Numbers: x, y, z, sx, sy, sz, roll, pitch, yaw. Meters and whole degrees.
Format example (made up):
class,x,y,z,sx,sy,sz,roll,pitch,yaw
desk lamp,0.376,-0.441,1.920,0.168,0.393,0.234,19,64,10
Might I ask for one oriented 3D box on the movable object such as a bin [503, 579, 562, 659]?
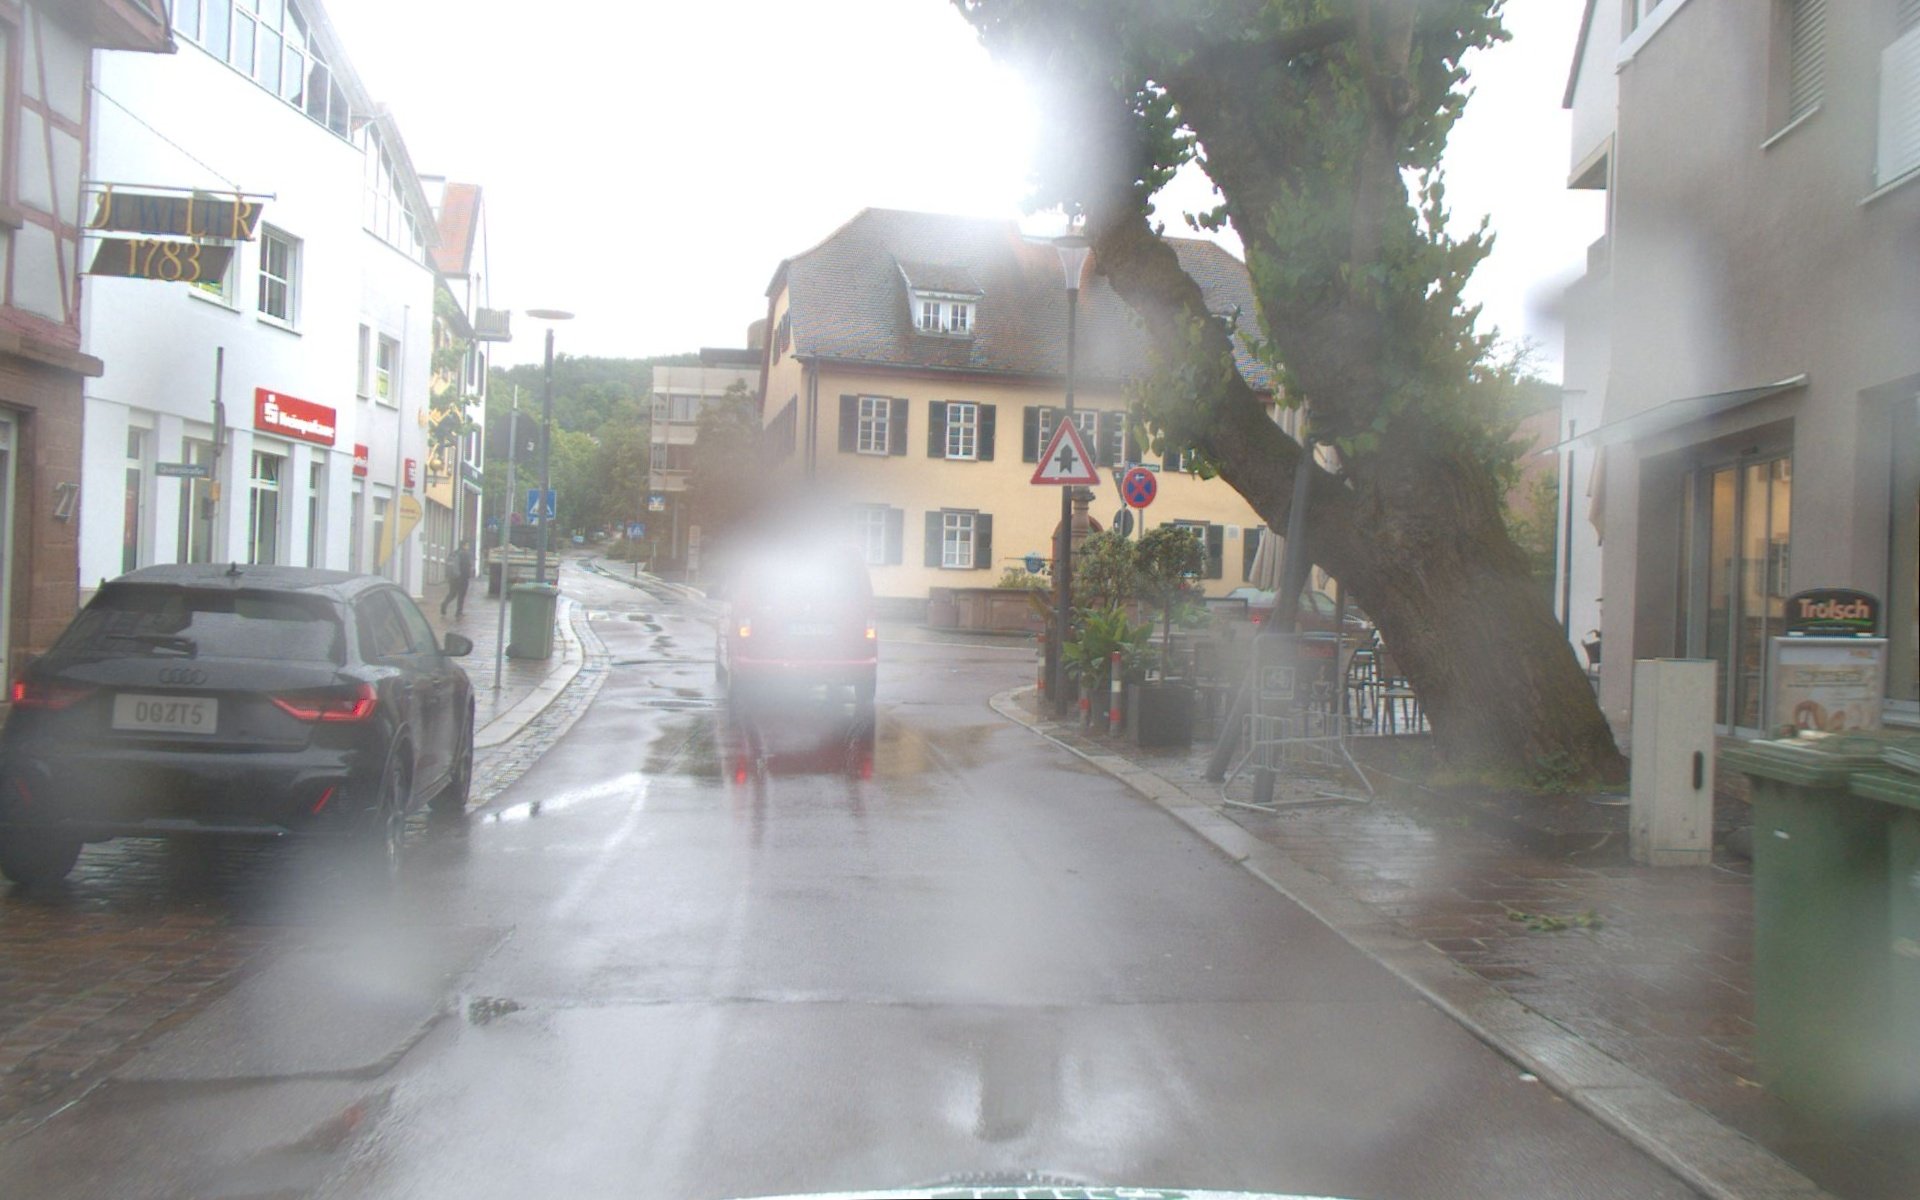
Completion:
class,x,y,z,sx,sy,sz,roll,pitch,yaw
movable object such as a bin,-6.297,0.278,24.366,0.700,1.125,0.599,3,-1,-6

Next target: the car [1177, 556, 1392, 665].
class,x,y,z,sx,sy,sz,roll,pitch,yaw
car,6.174,0.221,31.269,3.964,1.831,1.970,4,-2,-42

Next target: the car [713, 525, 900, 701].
class,x,y,z,sx,sy,sz,roll,pitch,yaw
car,-1.968,0.088,20.157,1.860,1.842,3.991,3,1,-10

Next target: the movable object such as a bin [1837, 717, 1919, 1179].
class,x,y,z,sx,sy,sz,roll,pitch,yaw
movable object such as a bin,2.733,0.890,4.211,0.663,1.122,0.579,3,-1,0

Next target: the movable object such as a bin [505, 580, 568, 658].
class,x,y,z,sx,sy,sz,roll,pitch,yaw
movable object such as a bin,-6.407,0.285,25.058,0.779,1.125,0.721,3,-1,-6

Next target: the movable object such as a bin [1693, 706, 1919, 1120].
class,x,y,z,sx,sy,sz,roll,pitch,yaw
movable object such as a bin,2.677,0.891,4.884,0.706,1.092,0.648,3,-1,0

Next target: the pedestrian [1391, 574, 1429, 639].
class,x,y,z,sx,sy,sz,roll,pitch,yaw
pedestrian,13.289,0.194,48.846,0.880,1.874,0.766,3,-1,2

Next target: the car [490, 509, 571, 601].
class,x,y,z,sx,sy,sz,roll,pitch,yaw
car,-13.964,-1.369,53.648,2.262,2.647,6.929,3,-1,-15

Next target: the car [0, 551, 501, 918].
class,x,y,z,sx,sy,sz,roll,pitch,yaw
car,-3.631,0.521,8.936,1.755,1.521,3.992,1,1,-9

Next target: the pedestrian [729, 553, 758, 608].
class,x,y,z,sx,sy,sz,roll,pitch,yaw
pedestrian,-7.628,-0.676,58.275,0.748,1.874,0.902,2,-1,6
